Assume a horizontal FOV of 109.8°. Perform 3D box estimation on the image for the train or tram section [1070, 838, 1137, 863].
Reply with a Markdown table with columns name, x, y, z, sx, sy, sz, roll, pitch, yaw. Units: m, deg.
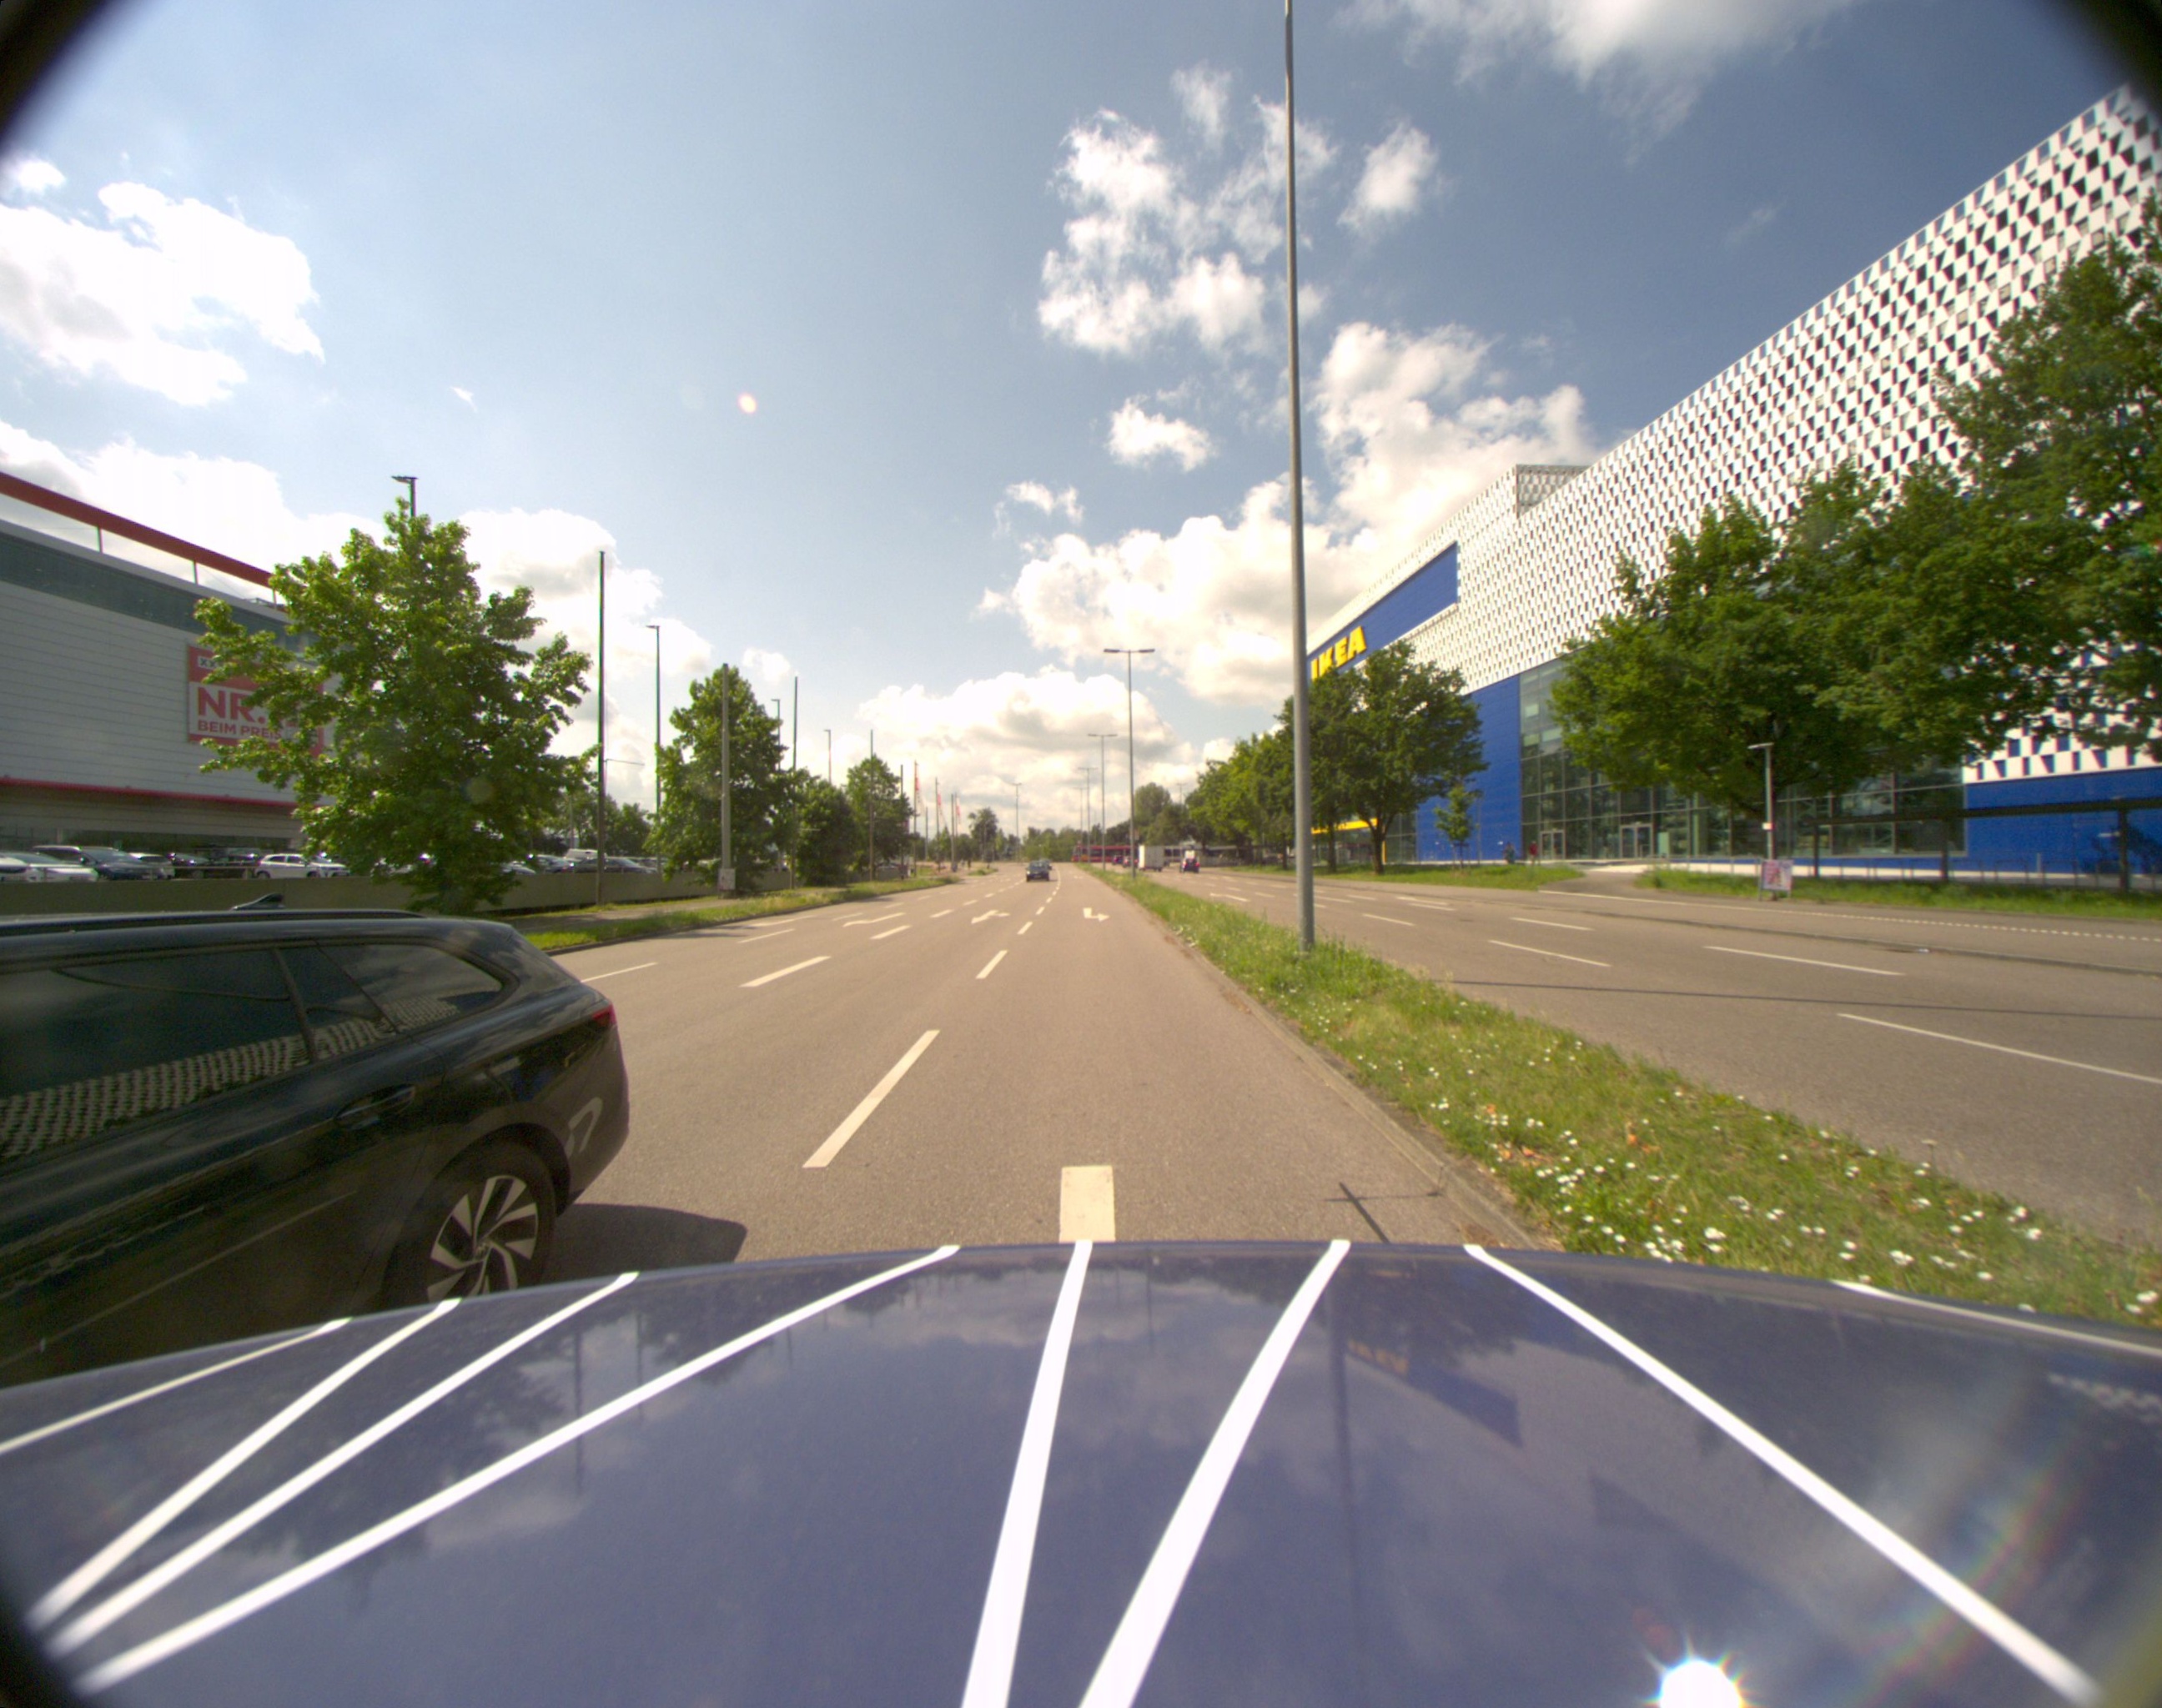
| name | x | y | z | sx | sy | sz | roll | pitch | yaw |
| --- | --- | --- | --- | --- | --- | --- | --- | --- | --- |
| train or tram section | 4.531 | -0.782 | 152.834 | 13.098 | 4.534 | 3.731 | -2 | 1 | -2 |

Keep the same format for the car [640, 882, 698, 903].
| name | x | y | z | sx | sy | sz | roll | pitch | yaw |
| --- | --- | --- | --- | --- | --- | --- | --- | --- | --- |
| car | -38.074 | 3.547 | 70.292 | 4.421 | 1.754 | 1.559 | -2 | 1 | -3 |

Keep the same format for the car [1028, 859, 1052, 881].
| name | x | y | z | sx | sy | sz | roll | pitch | yaw |
| --- | --- | --- | --- | --- | --- | --- | --- | --- | --- |
| car | -3.054 | 1.171 | 57.267 | 1.606 | 1.521 | 4.270 | -1 | 0 | 0 |

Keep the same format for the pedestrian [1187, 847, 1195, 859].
| name | x | y | z | sx | sy | sz | roll | pitch | yaw |
| --- | --- | --- | --- | --- | --- | --- | --- | --- | --- |
| pedestrian | 18.615 | -0.171 | 129.021 | 0.817 | 2.082 | 1.041 | -1 | 2 | 42 |

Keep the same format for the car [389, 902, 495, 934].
| name | x | y | z | sx | sy | sz | roll | pitch | yaw |
| --- | --- | --- | --- | --- | --- | --- | --- | --- | --- |
| car | -37.545 | 3.761 | 44.727 | 4.421 | 1.596 | 1.954 | -2 | 0 | -2 |

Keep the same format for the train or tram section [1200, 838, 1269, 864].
| name | x | y | z | sx | sy | sz | roll | pitch | yaw |
| --- | --- | --- | --- | --- | --- | --- | --- | --- | --- |
| train or tram section | 30.923 | -0.629 | 153.791 | 13.098 | 4.646 | 3.731 | -2 | 1 | -2 |

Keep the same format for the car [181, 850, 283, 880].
| name | x | y | z | sx | sy | sz | roll | pitch | yaw |
| --- | --- | --- | --- | --- | --- | --- | --- | --- | --- |
| car | -49.823 | 0.644 | 44.623 | 4.416 | 1.596 | 1.956 | -2 | 0 | 11 |

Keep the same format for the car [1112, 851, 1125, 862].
| name | x | y | z | sx | sy | sz | roll | pitch | yaw |
| --- | --- | --- | --- | --- | --- | --- | --- | --- | --- |
| car | 6.222 | 0.376 | 125.299 | 1.941 | 1.674 | 4.000 | -2 | 1 | 1 |

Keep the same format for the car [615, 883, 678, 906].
| name | x | y | z | sx | sy | sz | roll | pitch | yaw |
| --- | --- | --- | --- | --- | --- | --- | --- | --- | --- |
| car | -37.913 | 3.542 | 66.384 | 4.421 | 1.754 | 1.559 | -2 | 1 | -3 |

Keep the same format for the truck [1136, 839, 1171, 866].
| name | x | y | z | sx | sy | sz | roll | pitch | yaw |
| --- | --- | --- | --- | --- | --- | --- | --- | --- | --- |
| truck | 7.889 | -0.171 | 83.332 | 2.972 | 2.736 | 5.782 | -2 | 1 | -2 |

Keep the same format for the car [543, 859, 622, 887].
| name | x | y | z | sx | sy | sz | roll | pitch | yaw |
| --- | --- | --- | --- | --- | --- | --- | --- | --- | --- |
| car | -32.722 | 1.223 | 49.939 | 3.996 | 1.595 | 1.778 | -2 | 1 | 2 |

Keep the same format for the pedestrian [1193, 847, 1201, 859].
| name | x | y | z | sx | sy | sz | roll | pitch | yaw |
| --- | --- | --- | --- | --- | --- | --- | --- | --- | --- |
| pedestrian | 19.520 | -0.198 | 128.281 | 0.817 | 2.082 | 1.041 | -1 | 2 | 42 |

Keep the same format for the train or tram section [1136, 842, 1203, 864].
| name | x | y | z | sx | sy | sz | roll | pitch | yaw |
| --- | --- | --- | --- | --- | --- | --- | --- | --- | --- |
| train or tram section | 17.765 | -0.220 | 153.358 | 13.099 | 4.346 | 3.731 | 0 | 1 | -2 |

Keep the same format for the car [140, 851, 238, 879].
| name | x | y | z | sx | sy | sz | roll | pitch | yaw |
| --- | --- | --- | --- | --- | --- | --- | --- | --- | --- |
| car | -55.063 | 0.664 | 46.945 | 4.416 | 1.596 | 1.956 | -2 | 0 | 11 |

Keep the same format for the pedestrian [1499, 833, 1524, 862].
| name | x | y | z | sx | sy | sz | roll | pitch | yaw |
| --- | --- | --- | --- | --- | --- | --- | --- | --- | --- |
| pedestrian | 26.234 | -0.392 | 46.273 | 0.854 | 1.718 | 1.165 | -2 | 1 | 3 |

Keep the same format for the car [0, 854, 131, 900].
| name | x | y | z | sx | sy | sz | roll | pitch | yaw |
| --- | --- | --- | --- | --- | --- | --- | --- | --- | --- |
| car | -38.494 | 0.848 | 28.242 | 4.417 | 1.596 | 1.956 | -2 | 0 | 8 |

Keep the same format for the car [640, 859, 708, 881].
| name | x | y | z | sx | sy | sz | roll | pitch | yaw |
| --- | --- | --- | --- | --- | --- | --- | --- | --- | --- |
| car | -33.483 | 1.319 | 62.598 | 4.420 | 1.596 | 1.955 | -2 | 0 | -1 |

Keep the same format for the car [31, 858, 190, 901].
| name | x | y | z | sx | sy | sz | roll | pitch | yaw |
| --- | --- | --- | --- | --- | --- | --- | --- | --- | --- |
| car | -39.307 | 1.013 | 30.829 | 4.417 | 1.596 | 1.956 | -2 | 0 | 8 |

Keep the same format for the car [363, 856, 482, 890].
| name | x | y | z | sx | sy | sz | roll | pitch | yaw |
| --- | --- | --- | --- | --- | --- | --- | --- | --- | --- |
| car | -34.294 | 0.979 | 39.680 | 4.420 | 1.596 | 1.955 | -2 | 0 | -1 |

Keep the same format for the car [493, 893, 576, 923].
| name | x | y | z | sx | sy | sz | roll | pitch | yaw |
| --- | --- | --- | --- | --- | --- | --- | --- | --- | --- |
| car | -37.382 | 3.680 | 52.020 | 4.421 | 1.754 | 1.559 | -2 | 1 | -3 |

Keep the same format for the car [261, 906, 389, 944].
| name | x | y | z | sx | sy | sz | roll | pitch | yaw |
| --- | --- | --- | --- | --- | --- | --- | --- | --- | --- |
| car | -37.139 | 3.488 | 37.416 | 4.419 | 1.596 | 1.955 | -2 | 0 | 3 |

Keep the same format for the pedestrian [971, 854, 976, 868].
| name | x | y | z | sx | sy | sz | roll | pitch | yaw |
| --- | --- | --- | --- | --- | --- | --- | --- | --- | --- |
| pedestrian | -14.715 | 0.934 | 104.174 | 0.527 | 1.803 | 0.677 | -2 | 1 | -9 |

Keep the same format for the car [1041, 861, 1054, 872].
| name | x | y | z | sx | sy | sz | roll | pitch | yaw |
| --- | --- | --- | --- | --- | --- | --- | --- | --- | --- |
| car | -4.495 | 1.661 | 102.779 | 1.606 | 1.521 | 4.270 | -1 | 0 | 0 |

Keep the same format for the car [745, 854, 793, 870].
| name | x | y | z | sx | sy | sz | roll | pitch | yaw |
| --- | --- | --- | --- | --- | --- | --- | --- | --- | --- |
| car | -34.100 | 0.834 | 83.059 | 4.420 | 1.596 | 1.955 | -2 | 0 | -1 |

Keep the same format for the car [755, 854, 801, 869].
| name | x | y | z | sx | sy | sz | roll | pitch | yaw |
| --- | --- | --- | --- | --- | --- | --- | --- | --- | --- |
| car | -34.444 | 0.878 | 86.526 | 4.420 | 1.596 | 1.955 | -2 | 0 | -1 |

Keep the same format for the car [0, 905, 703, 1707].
| name | x | y | z | sx | sy | sz | roll | pitch | yaw |
| --- | --- | --- | --- | --- | --- | --- | --- | --- | --- |
| car | -2.807 | 1.014 | 1.146 | 1.813 | 1.469 | 5.204 | -2 | 0 | 0 |

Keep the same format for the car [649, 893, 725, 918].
| name | x | y | z | sx | sy | sz | roll | pitch | yaw |
| --- | --- | --- | --- | --- | --- | --- | --- | --- | --- |
| car | -28.643 | 3.718 | 55.352 | 4.420 | 1.596 | 1.955 | -2 | 0 | -1 |

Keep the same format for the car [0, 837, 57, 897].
| name | x | y | z | sx | sy | sz | roll | pitch | yaw |
| --- | --- | --- | --- | --- | --- | --- | --- | --- | --- |
| car | -34.587 | 0.465 | 23.297 | 3.997 | 1.783 | 1.749 | -2 | 1 | 1 |

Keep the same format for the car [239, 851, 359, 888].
| name | x | y | z | sx | sy | sz | roll | pitch | yaw |
| --- | --- | --- | --- | --- | --- | --- | --- | --- | --- |
| car | -40.865 | 0.790 | 39.788 | 4.421 | 1.754 | 1.559 | -2 | 1 | -3 |

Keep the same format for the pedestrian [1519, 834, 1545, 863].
| name | x | y | z | sx | sy | sz | roll | pitch | yaw |
| --- | --- | --- | --- | --- | --- | --- | --- | --- | --- |
| pedestrian | 27.391 | -0.356 | 46.184 | 0.854 | 1.718 | 1.165 | -2 | 1 | 3 |

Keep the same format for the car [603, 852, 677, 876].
| name | x | y | z | sx | sy | sz | roll | pitch | yaw |
| --- | --- | --- | --- | --- | --- | --- | --- | --- | --- |
| car | -33.391 | 0.745 | 57.666 | 4.420 | 1.596 | 1.955 | -2 | 0 | -1 |

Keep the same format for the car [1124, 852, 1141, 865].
| name | x | y | z | sx | sy | sz | roll | pitch | yaw |
| --- | --- | --- | --- | --- | --- | --- | --- | --- | --- |
| car | 6.902 | 0.609 | 101.890 | 1.941 | 1.674 | 4.000 | -2 | 1 | 1 |

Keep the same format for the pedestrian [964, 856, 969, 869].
| name | x | y | z | sx | sy | sz | roll | pitch | yaw |
| --- | --- | --- | --- | --- | --- | --- | --- | --- | --- |
| pedestrian | -15.652 | 1.148 | 103.934 | 0.704 | 1.803 | 0.545 | -2 | 1 | -9 |

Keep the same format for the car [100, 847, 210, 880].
| name | x | y | z | sx | sy | sz | roll | pitch | yaw |
| --- | --- | --- | --- | --- | --- | --- | --- | --- | --- |
| car | -48.891 | 0.503 | 40.133 | 4.415 | 1.596 | 1.957 | -2 | 0 | 14 |

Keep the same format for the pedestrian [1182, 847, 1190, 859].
| name | x | y | z | sx | sy | sz | roll | pitch | yaw |
| --- | --- | --- | --- | --- | --- | --- | --- | --- | --- |
| pedestrian | 17.901 | -0.151 | 129.671 | 0.817 | 2.082 | 1.041 | -1 | 2 | 42 |

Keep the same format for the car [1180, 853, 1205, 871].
| name | x | y | z | sx | sy | sz | roll | pitch | yaw |
| --- | --- | --- | --- | --- | --- | --- | --- | --- | --- |
| car | 11.363 | 0.790 | 77.838 | 1.941 | 1.674 | 4.000 | -2 | 1 | 1 |
